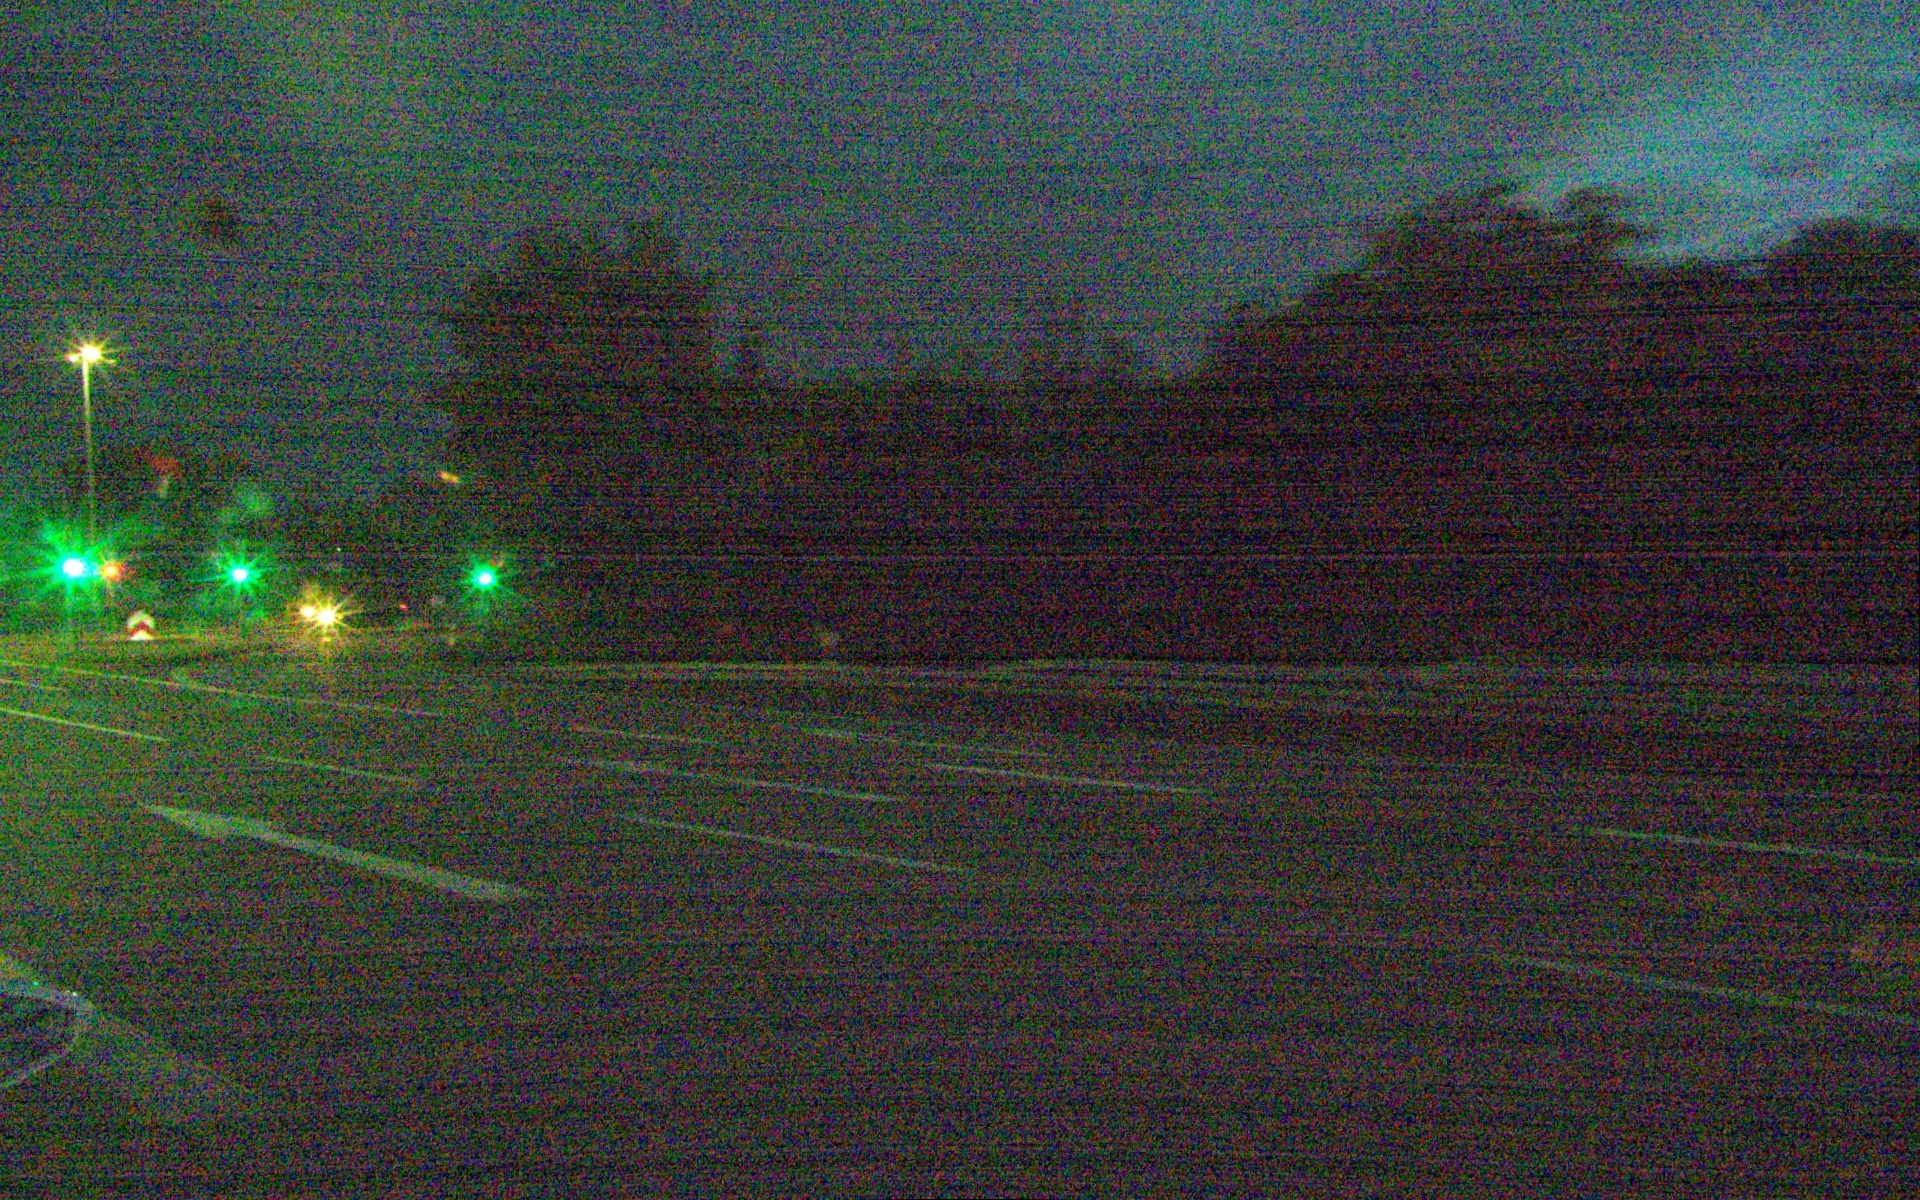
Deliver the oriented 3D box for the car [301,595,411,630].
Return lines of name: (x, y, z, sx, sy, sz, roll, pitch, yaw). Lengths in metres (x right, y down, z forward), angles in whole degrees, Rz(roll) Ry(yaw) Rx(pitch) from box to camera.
car: (-28.925, 0.577, 48.064, 1.972, 1.590, 4.067, 1, 1, 30)

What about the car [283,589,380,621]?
car: (-33.575, 0.231, 53.565, 1.872, 1.590, 3.980, 1, 1, 30)
